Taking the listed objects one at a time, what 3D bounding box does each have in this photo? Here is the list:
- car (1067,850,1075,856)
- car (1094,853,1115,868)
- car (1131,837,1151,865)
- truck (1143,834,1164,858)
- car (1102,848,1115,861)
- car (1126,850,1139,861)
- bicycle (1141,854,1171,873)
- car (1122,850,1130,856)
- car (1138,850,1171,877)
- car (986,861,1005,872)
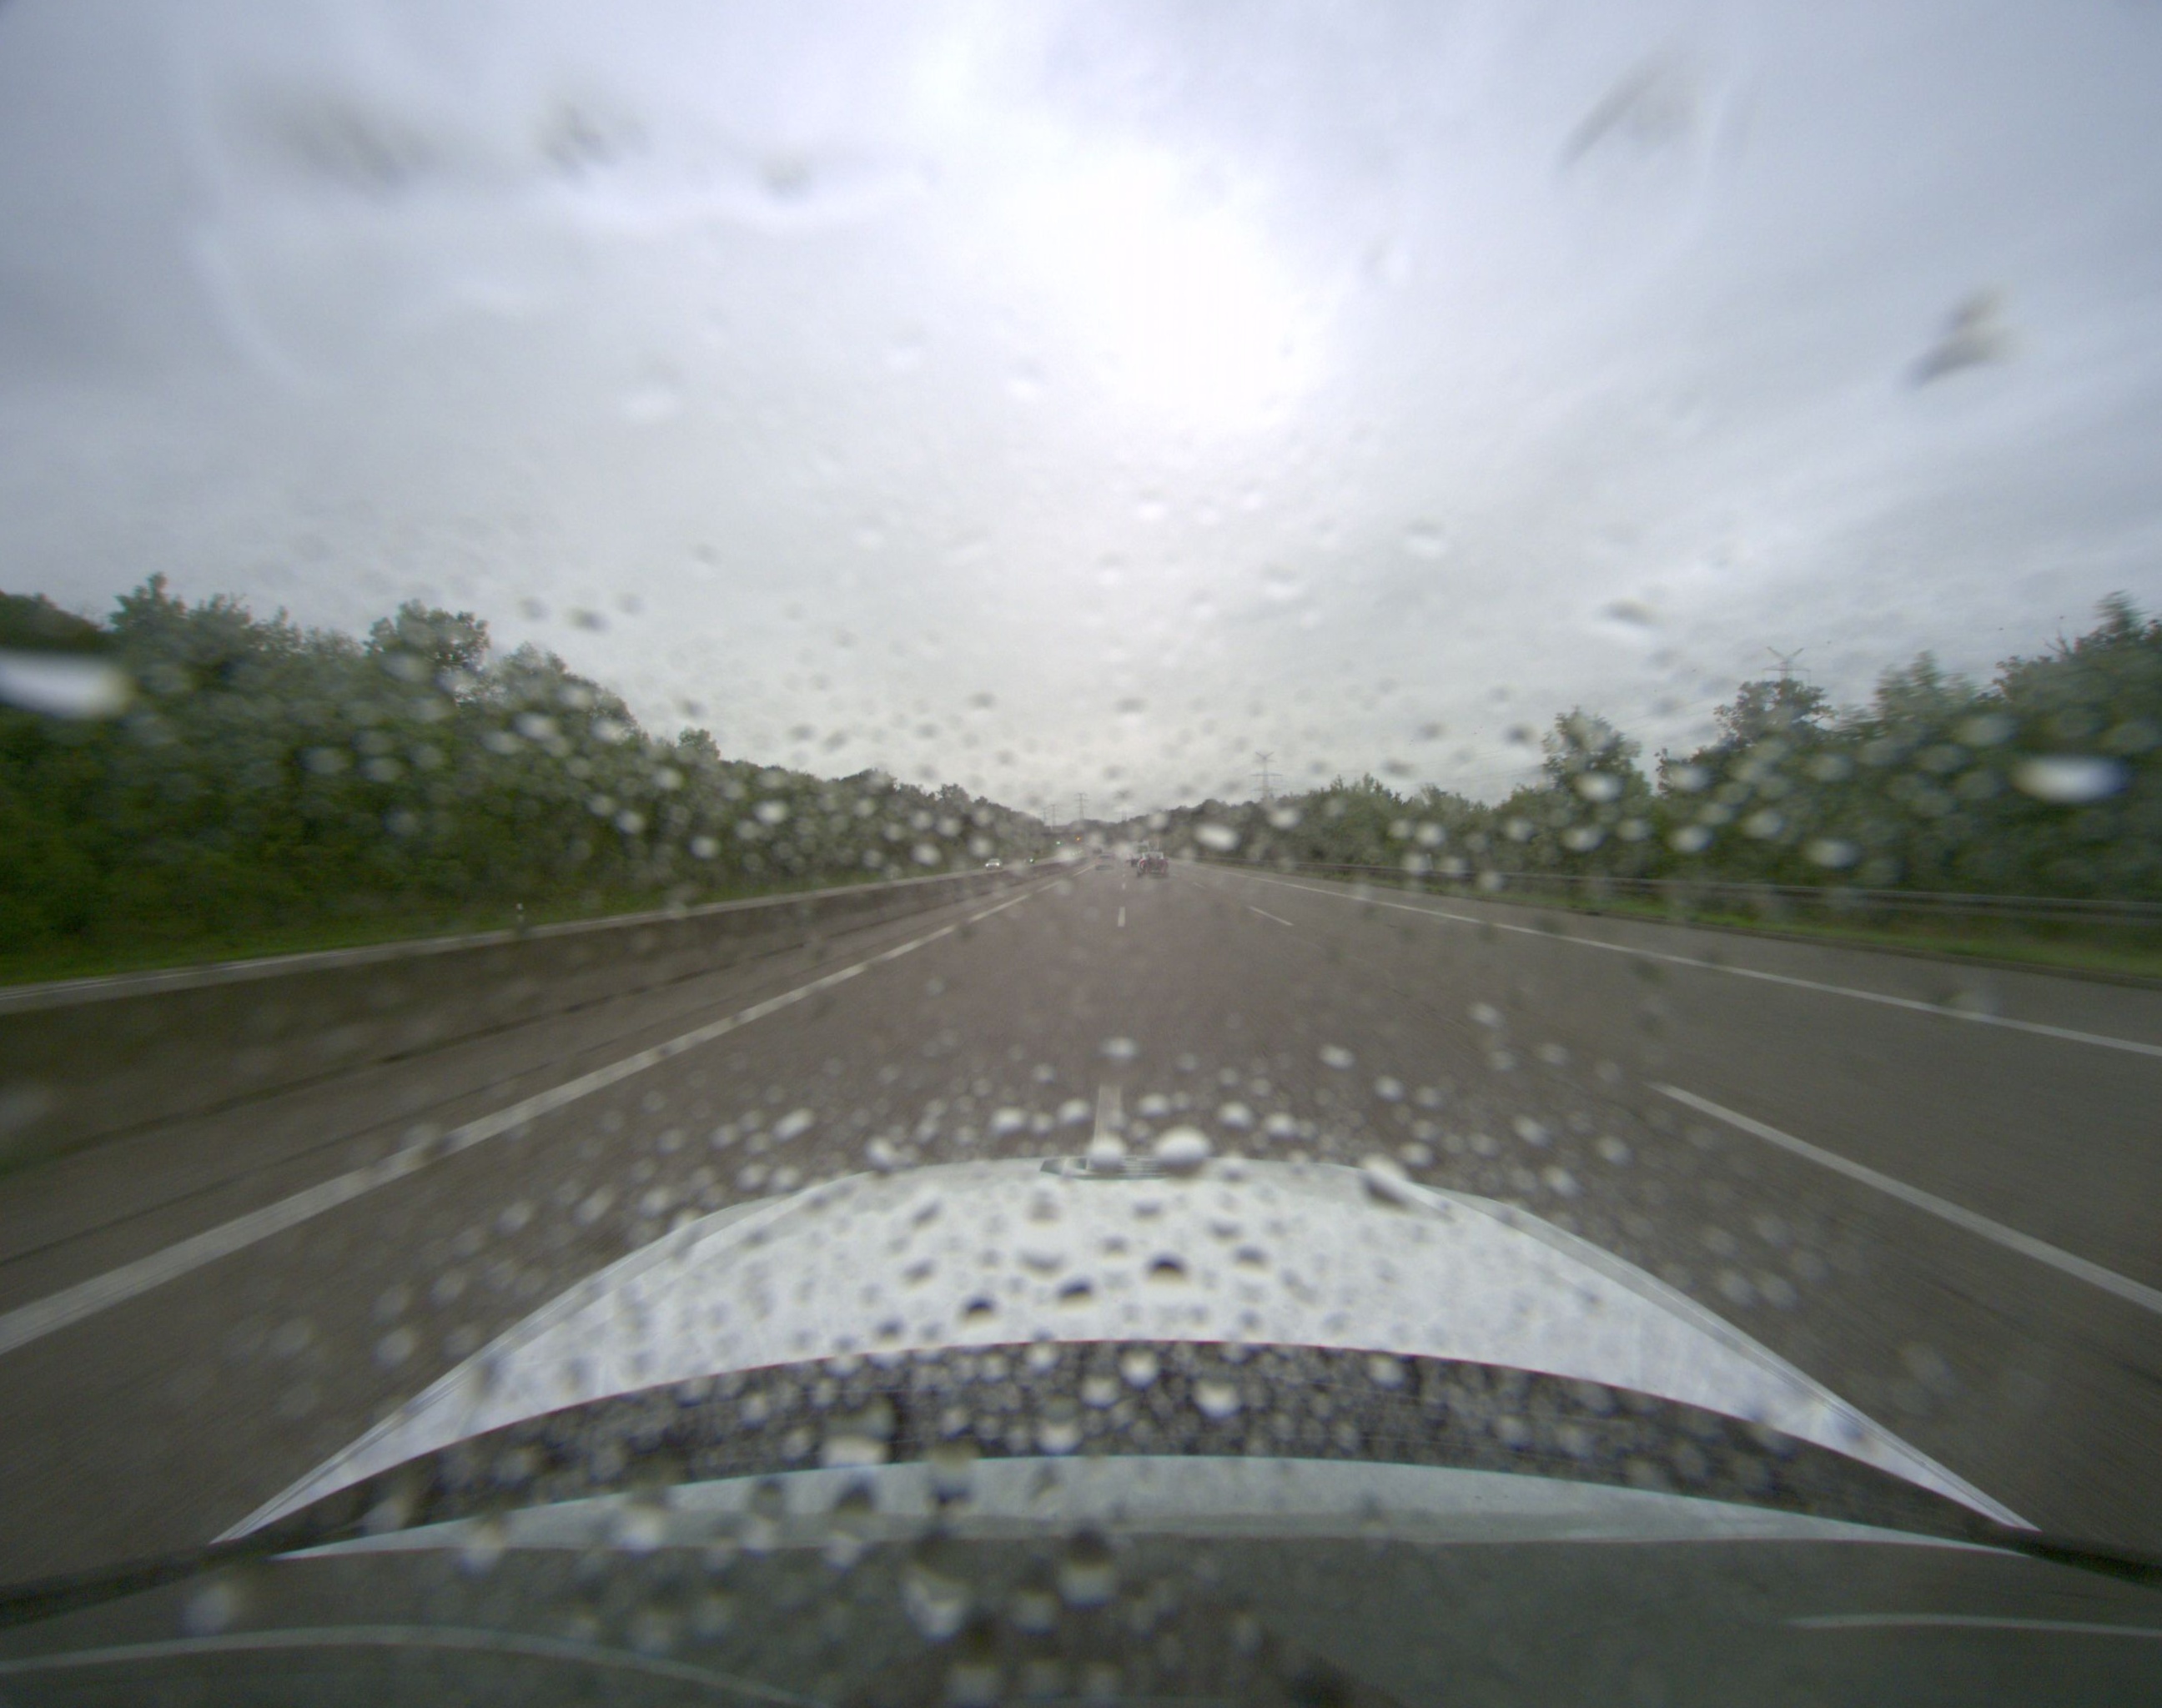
[{"bbox_3d":[-2.796,-0.206,236.562,1.986,1.688,4.919,-3,0,2],"label":"car"},{"bbox_3d":[2.251,0.645,77.561,1.860,1.288,4.002,-3,0,2],"label":"car"},{"bbox_3d":[6.553,-0.303,89.139,1.985,2.864,4.004,-3,0,3],"label":"car"},{"bbox_3d":[14.172,-1.591,160.048,3.588,4.332,13.212,-2,0,3],"label":"truck"},{"bbox_3d":[3.846,0.128,114.529,1.839,1.772,4.001,0,-1,2],"label":"car"},{"bbox_3d":[7.687,0.215,122.177,1.849,1.422,4.003,-1,1,3],"label":"car"},{"bbox_3d":[4.497,0.544,49.018,1.747,1.090,0.914,-1,-1,1],"label":"bicycle"},{"bbox_3d":[11.740,-0.238,212.457,1.986,1.574,4.002,-3,0,2],"label":"car"},{"bbox_3d":[4.635,0.546,51.968,1.853,1.568,4.967,-1,1,2],"label":"car"},{"bbox_3d":[-11.629,1.704,111.085,1.791,1.450,4.631,-2,0,2],"label":"car"}]
